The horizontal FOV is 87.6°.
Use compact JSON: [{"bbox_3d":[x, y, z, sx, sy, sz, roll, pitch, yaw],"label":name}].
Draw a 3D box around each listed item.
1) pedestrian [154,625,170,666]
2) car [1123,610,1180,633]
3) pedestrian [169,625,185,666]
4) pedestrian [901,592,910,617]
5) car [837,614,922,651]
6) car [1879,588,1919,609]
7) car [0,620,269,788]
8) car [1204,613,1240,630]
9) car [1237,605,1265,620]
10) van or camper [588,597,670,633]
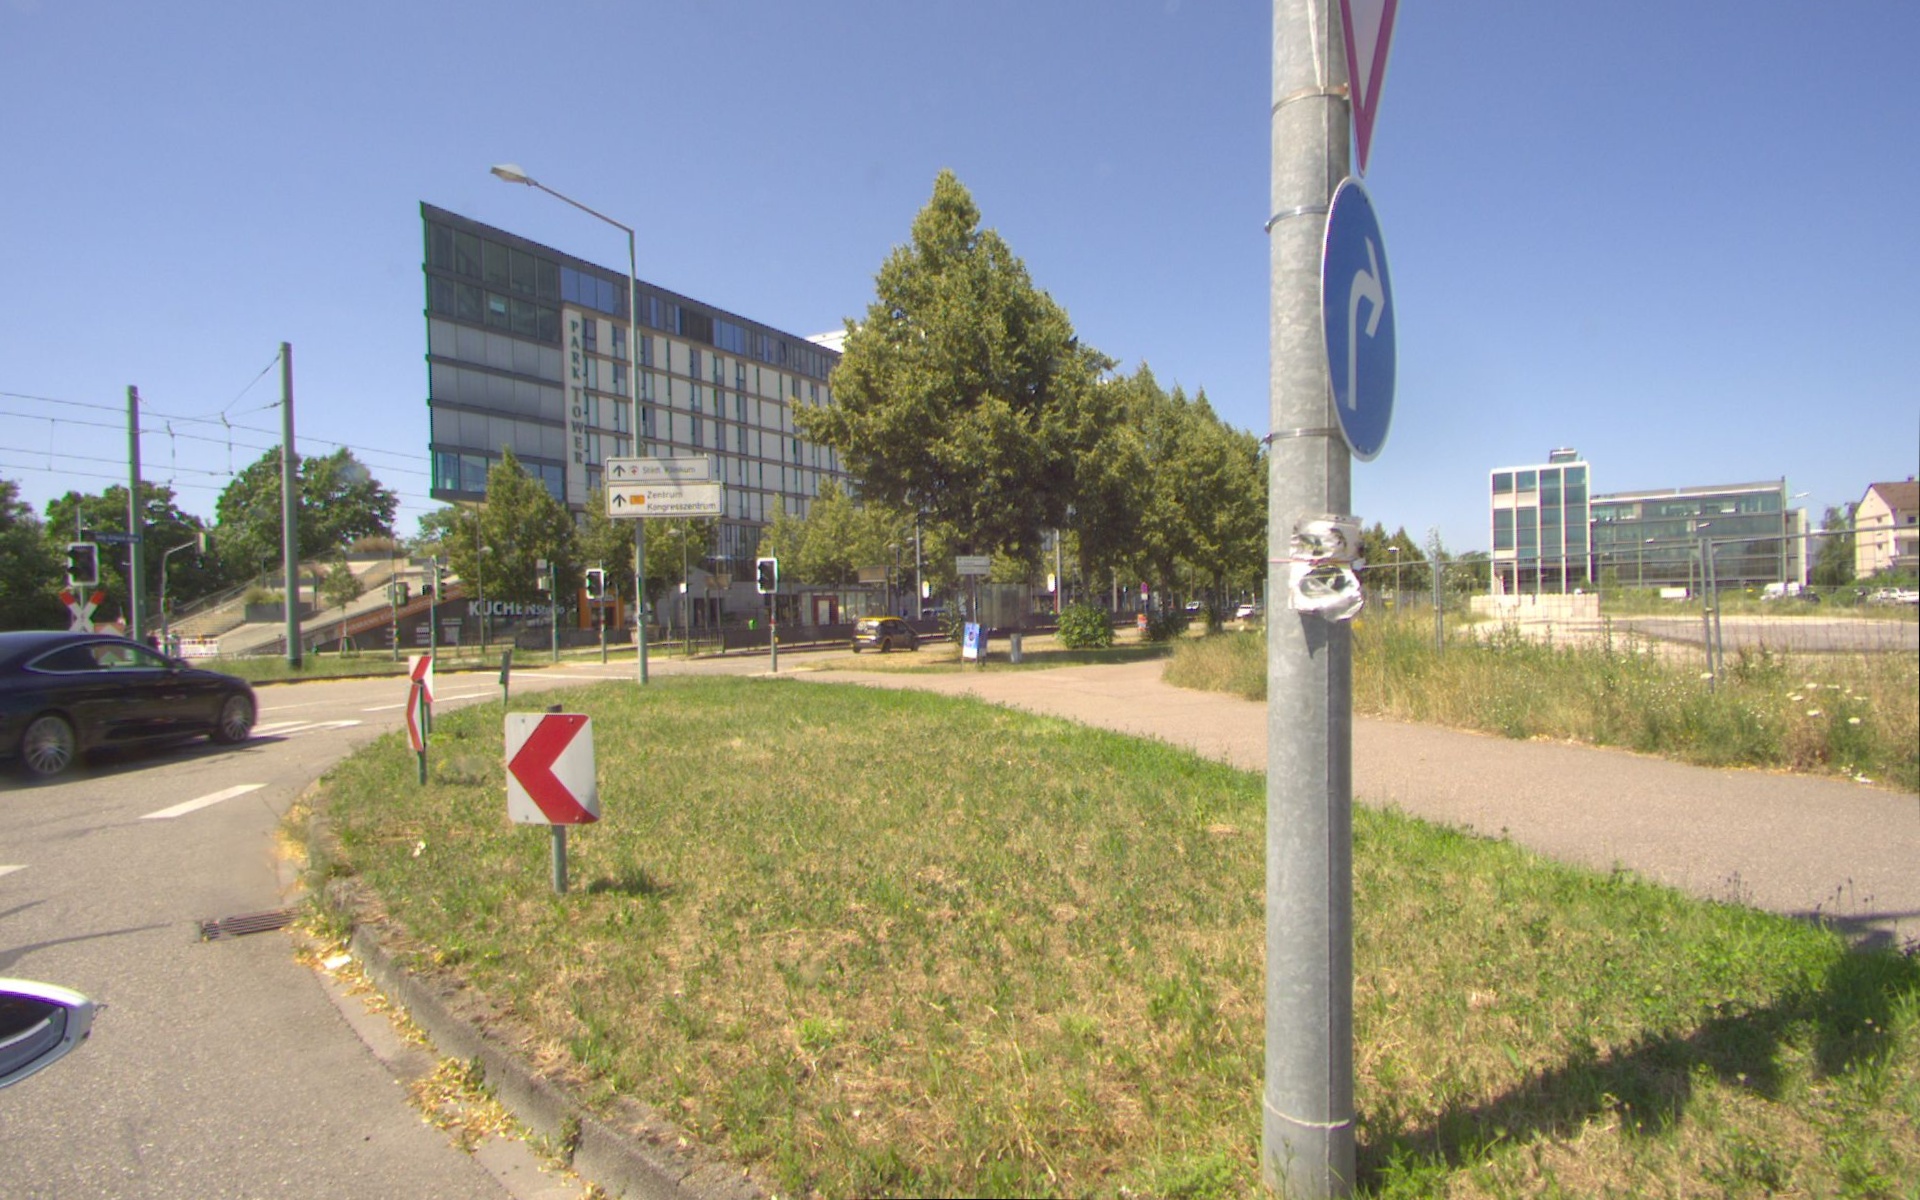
[{"bbox_3d":[-34.223,1.957,42.941,0.287,1.761,0.447,-1,0,29],"label":"pedestrian"},{"bbox_3d":[12.655,1.420,65.952,1.973,1.467,4.623,-2,-2,34],"label":"car"},{"bbox_3d":[-33.946,1.987,43.428,0.313,1.761,0.447,-1,0,29],"label":"pedestrian"},{"bbox_3d":[-3.858,0.326,71.086,0.404,1.775,0.584,-1,0,27],"label":"pedestrian"},{"bbox_3d":[-3.301,1.339,41.843,1.600,1.470,3.969,-1,-2,30],"label":"car"},{"bbox_3d":[75.763,-0.102,80.569,1.654,1.606,3.610,-2,-2,26],"label":"car"},{"bbox_3d":[-9.449,0.944,10.152,1.822,1.455,4.955,0,-1,-5],"label":"car"},{"bbox_3d":[24.046,1.983,91.771,1.971,1.467,4.735,-2,-2,32],"label":"car"},{"bbox_3d":[29.742,1.301,102.342,1.829,1.467,4.333,-1,-2,30],"label":"car"},{"bbox_3d":[-27.355,1.239,82.950,2.346,2.859,6.762,-1,-1,27],"label":"van or camper"}]
